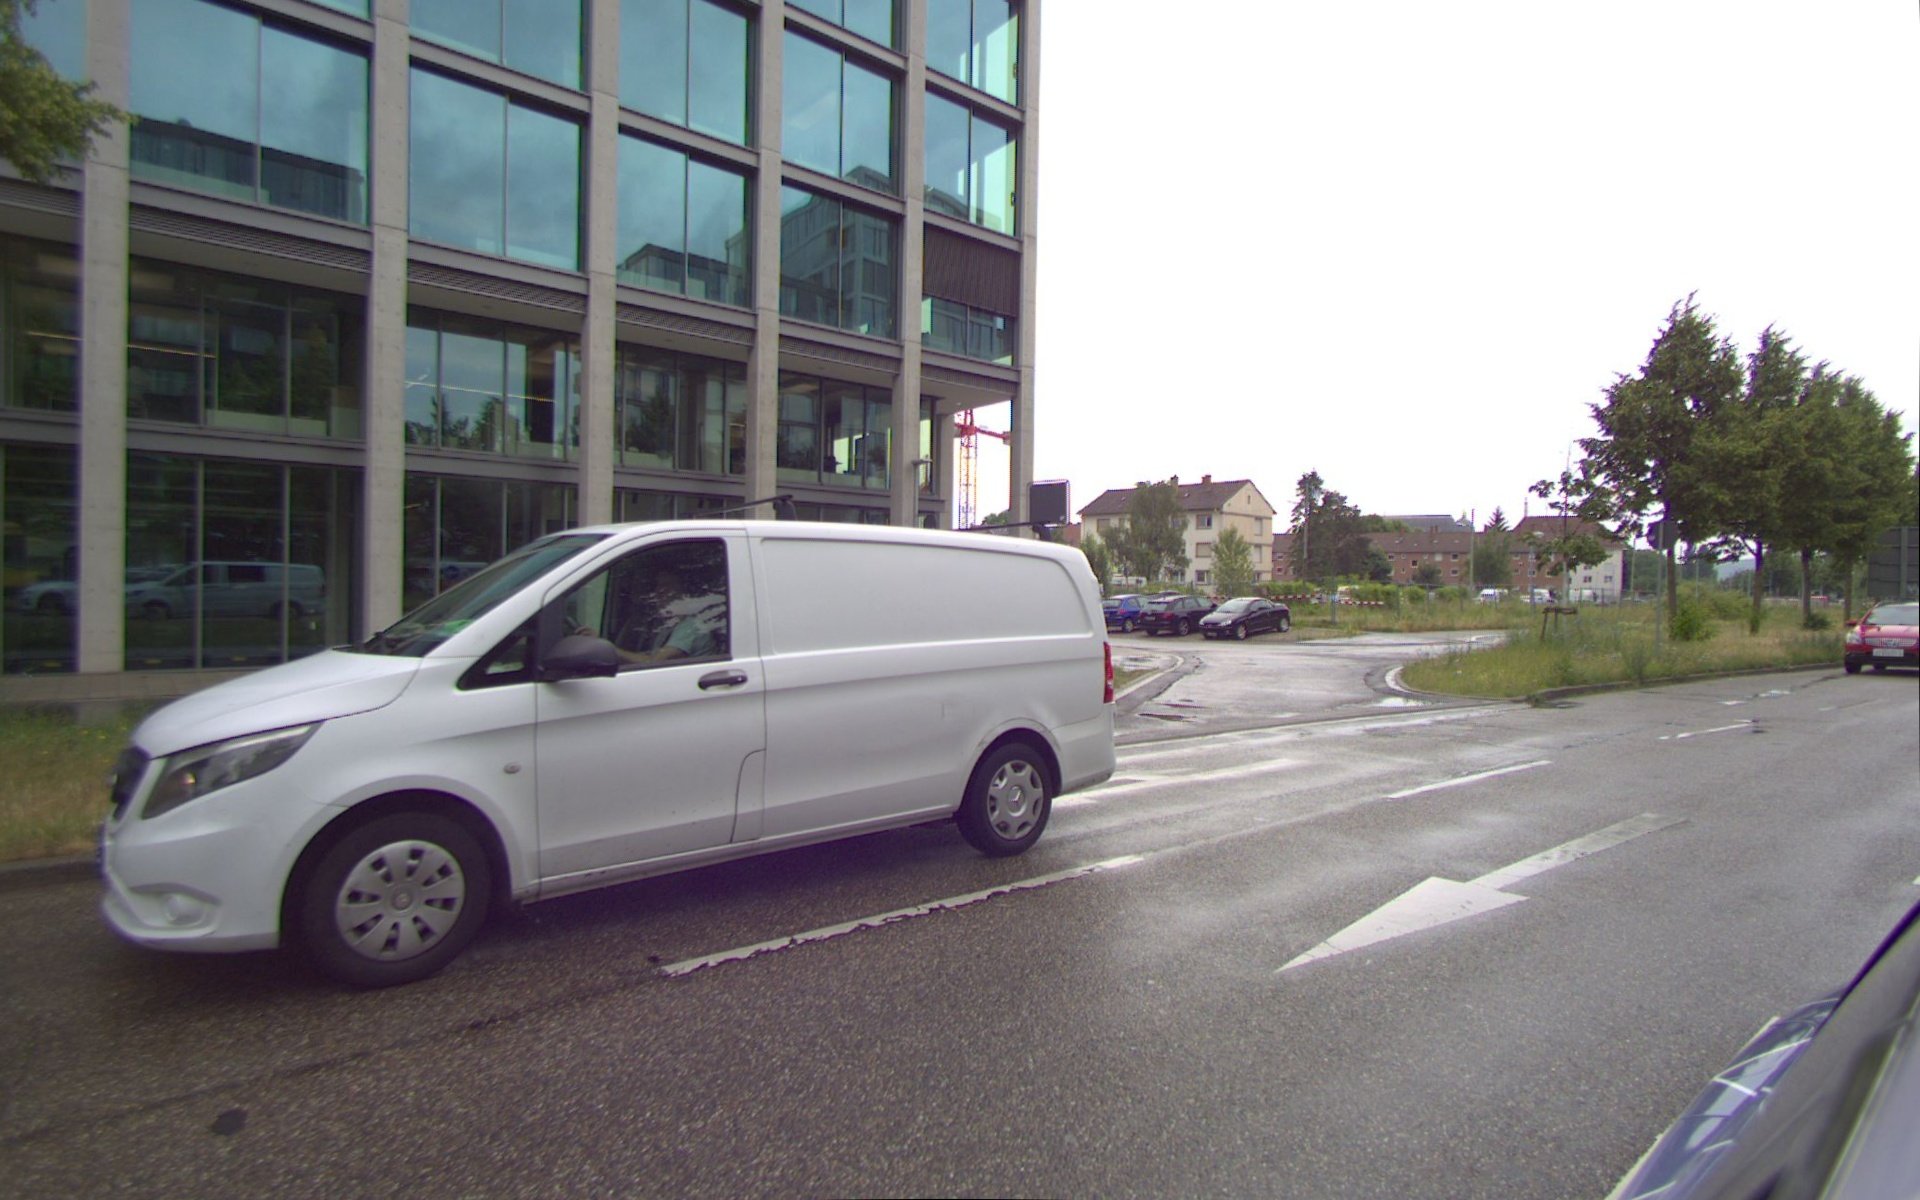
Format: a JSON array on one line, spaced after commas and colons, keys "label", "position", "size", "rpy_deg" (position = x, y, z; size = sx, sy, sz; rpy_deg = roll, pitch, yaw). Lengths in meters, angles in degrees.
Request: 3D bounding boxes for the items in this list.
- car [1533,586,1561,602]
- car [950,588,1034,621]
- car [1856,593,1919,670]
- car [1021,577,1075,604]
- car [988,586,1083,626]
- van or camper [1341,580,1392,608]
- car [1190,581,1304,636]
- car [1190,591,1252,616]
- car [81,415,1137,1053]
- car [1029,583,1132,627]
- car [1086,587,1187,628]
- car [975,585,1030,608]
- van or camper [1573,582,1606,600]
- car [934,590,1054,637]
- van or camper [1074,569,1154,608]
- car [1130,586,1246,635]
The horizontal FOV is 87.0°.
[{"label": "car", "position": [82.808, -0.835, 142.678], "size": [4.682, 2.248, 2.273], "rpy_deg": [0, 0, -45]}, {"label": "car", "position": [1.650, 0.220, 51.398], "size": [3.924, 1.621, 1.861], "rpy_deg": [0, 1, -35]}, {"label": "car", "position": [21.945, 0.675, 22.971], "size": [4.169, 1.632, 1.798], "rpy_deg": [0, 0, -40]}, {"label": "car", "position": [6.785, -0.733, 77.947], "size": [4.090, 2.030, 1.700], "rpy_deg": [0, 1, -40]}, {"label": "car", "position": [3.479, 0.236, 46.378], "size": [4.152, 1.492, 1.791], "rpy_deg": [-4, 3, -35]}, {"label": "van or camper", "position": [41.354, -0.641, 102.869], "size": [6.289, 2.723, 2.311], "rpy_deg": [0, 1, -43]}, {"label": "car", "position": [10.517, 0.273, 37.040], "size": [3.925, 1.599, 1.862], "rpy_deg": [-6, 3, -33]}, {"label": "car", "position": [17.050, 0.211, 66.140], "size": [3.924, 1.621, 1.861], "rpy_deg": [0, 1, -35]}, {"label": "car", "position": [-1.436, 0.388, 5.535], "size": [5.000, 2.004, 1.972], "rpy_deg": [-1, 1, -39]}, {"label": "car", "position": [5.327, 0.180, 44.459], "size": [4.334, 1.621, 1.861], "rpy_deg": [-4, 3, -35]}, {"label": "car", "position": [7.328, 0.282, 41.920], "size": [3.926, 1.472, 1.861], "rpy_deg": [-3, 2, -35]}, {"label": "car", "position": [3.120, -0.244, 74.520], "size": [3.961, 1.601, 1.699], "rpy_deg": [0, 1, -40]}, {"label": "van or camper", "position": [83.912, -1.122, 134.835], "size": [6.045, 2.337, 2.204], "rpy_deg": [0, -1, -43]}, {"label": "car", "position": [1.112, 0.451, 34.758], "size": [1.943, 1.456, 4.232], "rpy_deg": [3, -1, -35]}, {"label": "van or camper", "position": [12.782, -0.944, 83.503], "size": [6.658, 3.031, 2.912], "rpy_deg": [0, 1, -41]}, {"label": "car", "position": [8.916, 0.349, 39.363], "size": [4.474, 1.472, 1.861], "rpy_deg": [-5, 4, -35]}]
